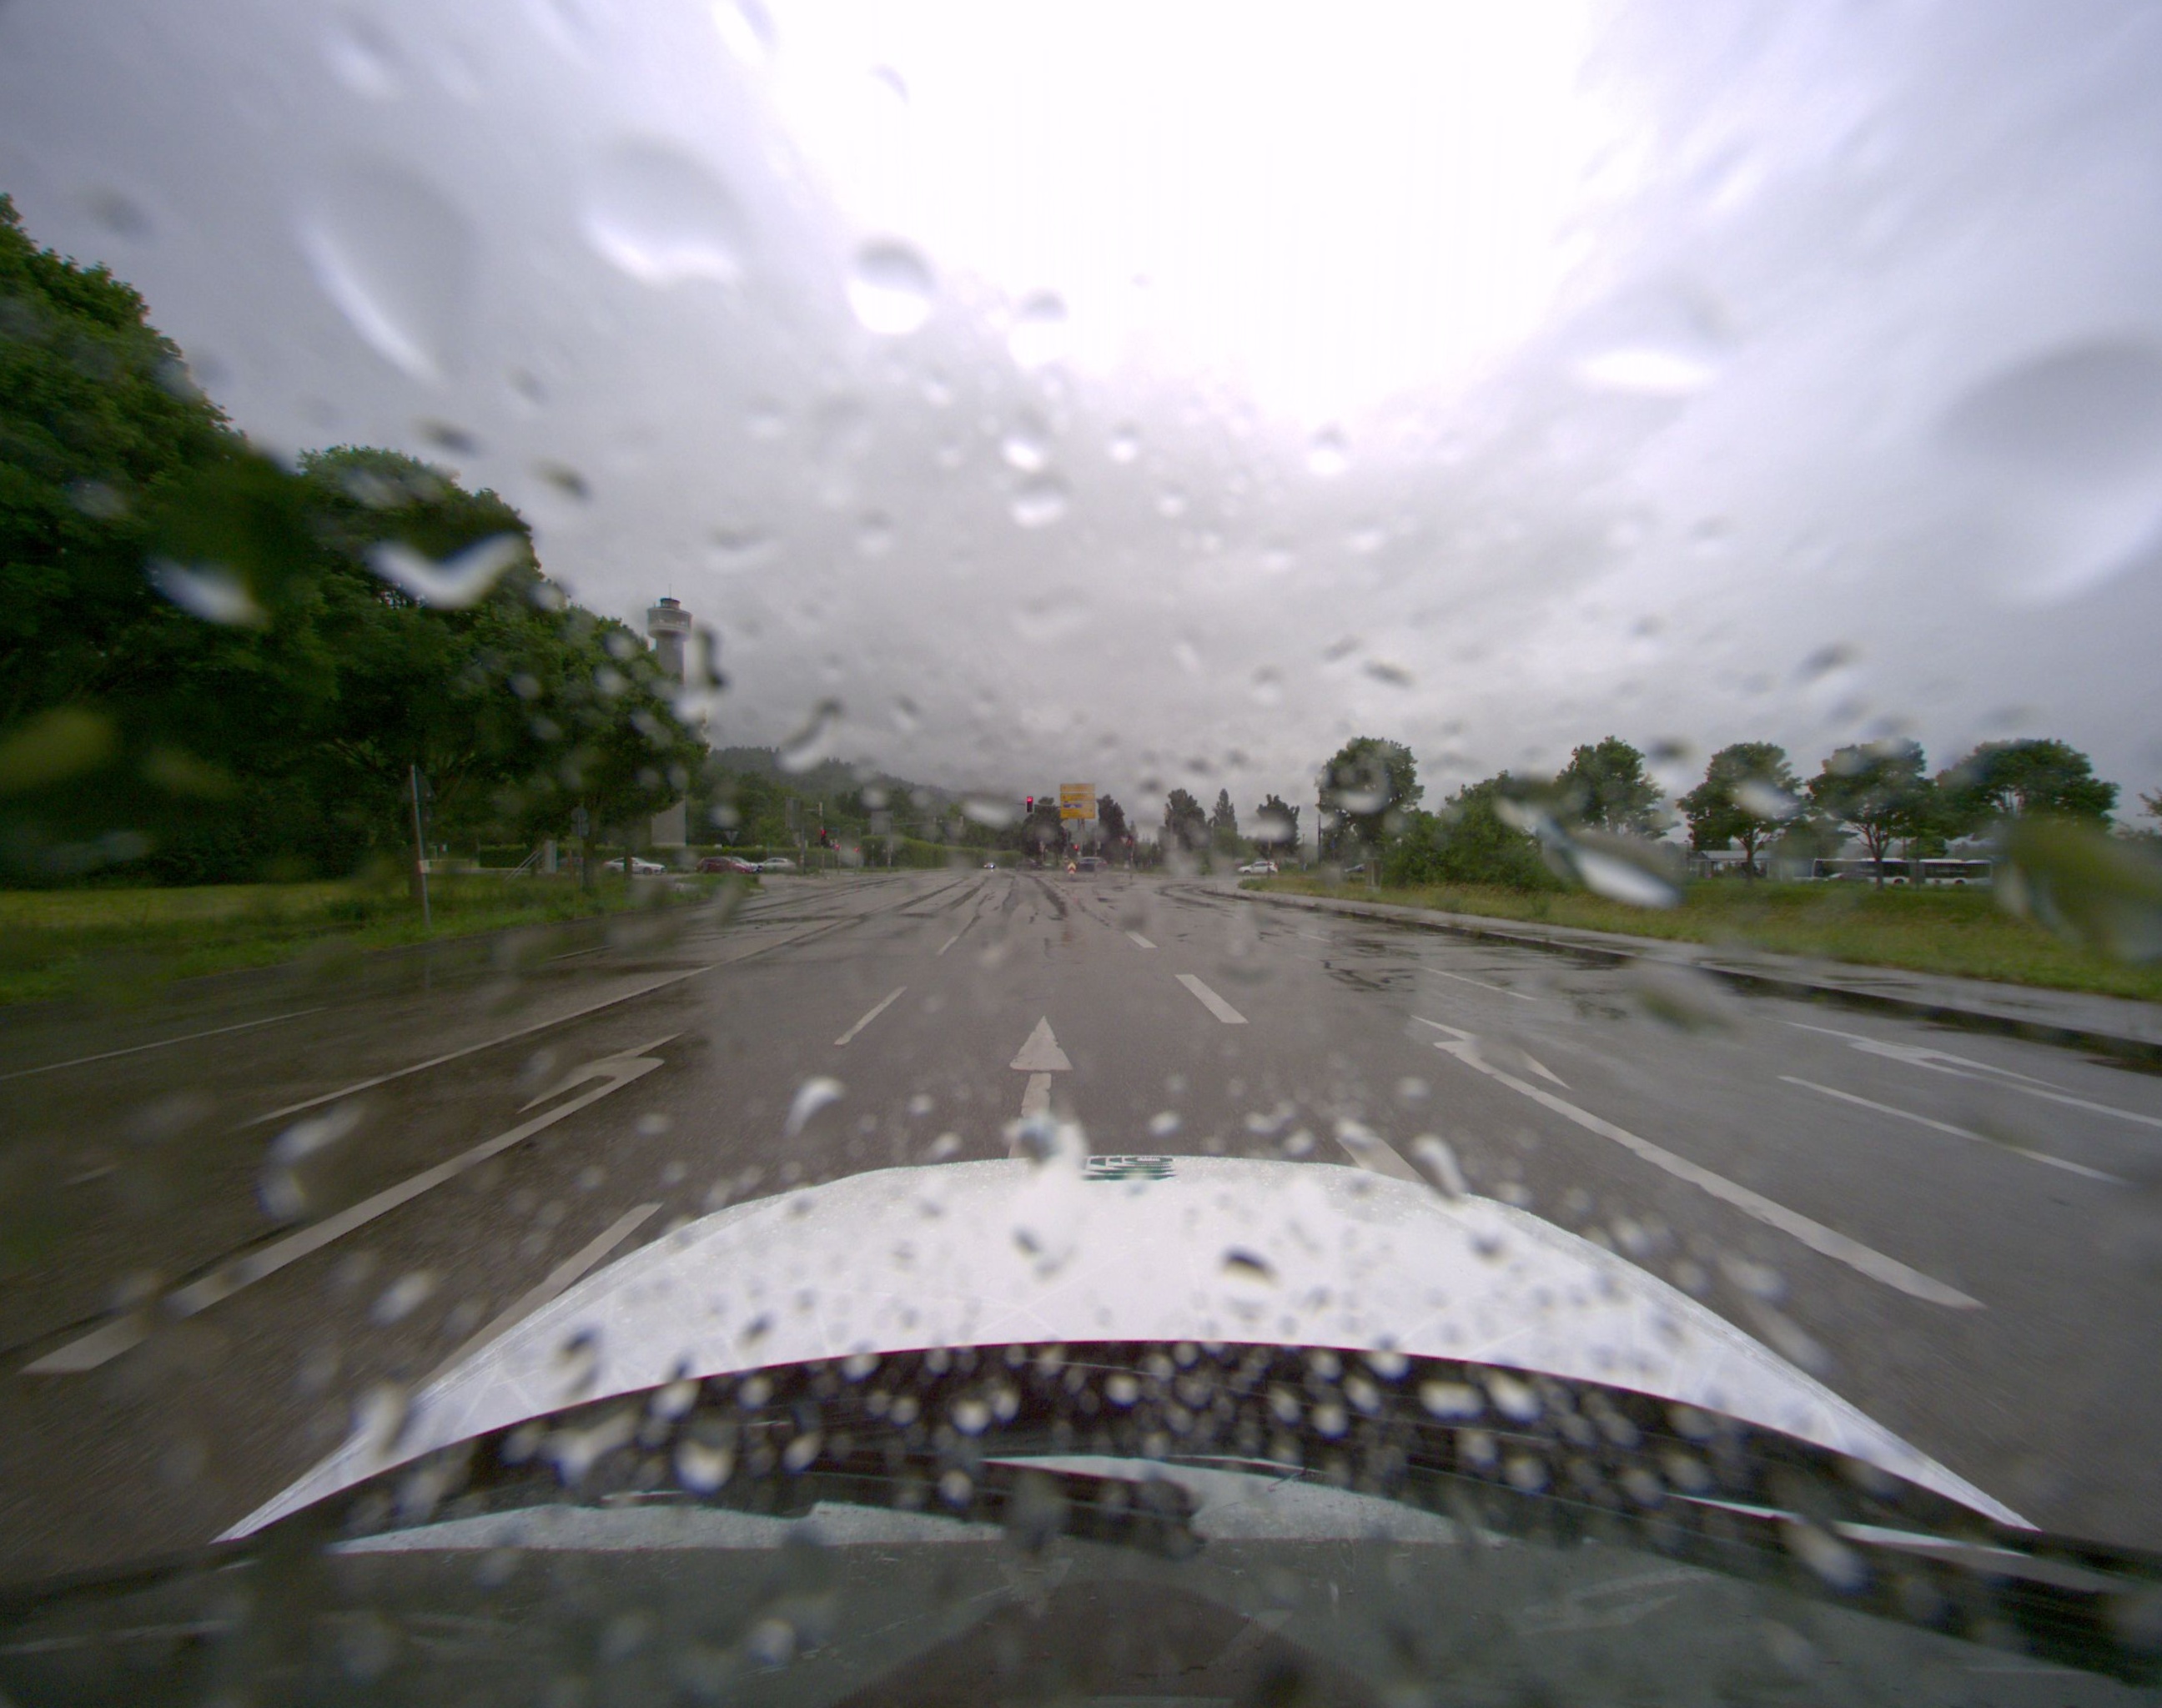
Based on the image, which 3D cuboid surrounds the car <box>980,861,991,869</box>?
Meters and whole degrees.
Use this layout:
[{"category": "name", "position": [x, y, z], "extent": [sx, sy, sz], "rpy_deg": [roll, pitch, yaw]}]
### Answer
[{"category": "car", "position": [-20.338, 2.371, 173.959], "extent": [1.873, 1.573, 4.643], "rpy_deg": [-2, 0, -1]}]

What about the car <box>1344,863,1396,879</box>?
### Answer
[{"category": "car", "position": [28.836, 1.707, 81.331], "extent": [4.654, 1.553, 1.822], "rpy_deg": [0, 0, 0]}]

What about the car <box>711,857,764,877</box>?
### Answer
[{"category": "car", "position": [-29.507, 1.126, 70.062], "extent": [3.786, 1.711, 1.747], "rpy_deg": [0, 0, 2]}]

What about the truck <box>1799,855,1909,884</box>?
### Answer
[{"category": "truck", "position": [79.364, 1.544, 83.712], "extent": [8.786, 2.832, 2.656], "rpy_deg": [1, 0, 1]}]

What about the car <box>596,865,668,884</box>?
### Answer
[{"category": "car", "position": [-36.496, 1.661, 66.214], "extent": [4.862, 1.553, 1.800], "rpy_deg": [0, 0, 2]}]

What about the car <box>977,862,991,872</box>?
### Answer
[{"category": "car", "position": [-16.444, 2.164, 138.136], "extent": [1.873, 1.573, 4.643], "rpy_deg": [-2, 0, -1]}]

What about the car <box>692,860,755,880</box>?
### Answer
[{"category": "car", "position": [-29.142, 1.286, 66.407], "extent": [4.358, 1.579, 1.733], "rpy_deg": [0, 0, 2]}]

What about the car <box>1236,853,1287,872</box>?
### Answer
[{"category": "car", "position": [17.957, 0.851, 81.195], "extent": [4.653, 1.915, 1.915], "rpy_deg": [0, 0, 1]}]

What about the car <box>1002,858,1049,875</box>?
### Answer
[{"category": "car", "position": [-5.691, 1.306, 84.200], "extent": [4.657, 1.553, 1.821], "rpy_deg": [-2, 0, -2]}]

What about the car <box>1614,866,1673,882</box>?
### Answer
[{"category": "car", "position": [55.419, 1.940, 80.324], "extent": [4.657, 1.553, 1.821], "rpy_deg": [0, 0, -2]}]

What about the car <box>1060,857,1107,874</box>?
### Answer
[{"category": "car", "position": [0.199, 1.143, 81.306], "extent": [4.657, 1.639, 1.821], "rpy_deg": [0, 0, -2]}]

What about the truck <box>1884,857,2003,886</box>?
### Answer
[{"category": "truck", "position": [88.370, 1.739, 83.554], "extent": [9.287, 2.772, 2.657], "rpy_deg": [1, 0, 1]}]

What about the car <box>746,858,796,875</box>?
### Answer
[{"category": "car", "position": [-30.577, 1.236, 80.438], "extent": [4.373, 1.579, 1.727], "rpy_deg": [0, 0, -9]}]
